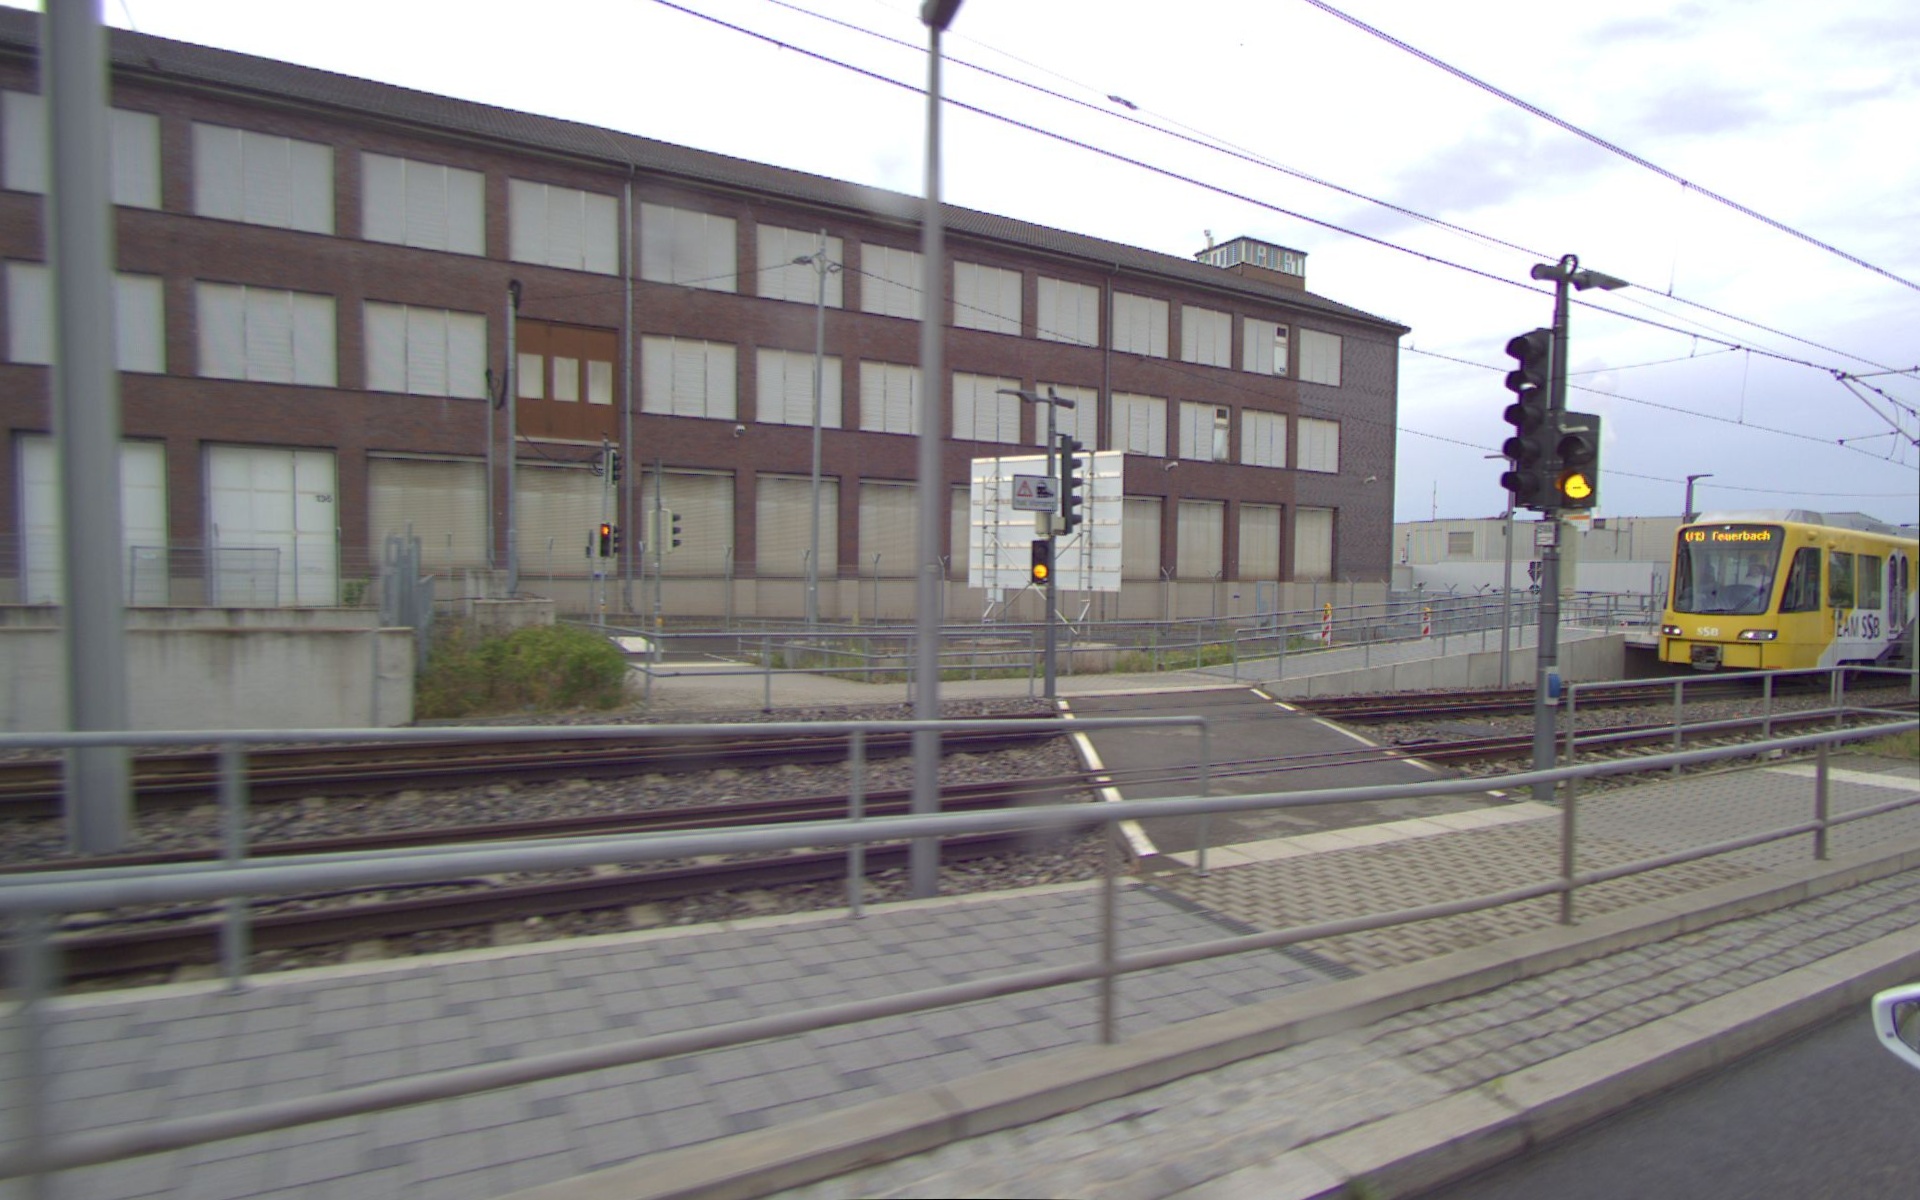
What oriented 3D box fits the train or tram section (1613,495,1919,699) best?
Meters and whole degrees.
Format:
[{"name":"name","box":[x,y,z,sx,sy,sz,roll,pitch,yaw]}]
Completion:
[{"name":"train or tram section","box":[23.169,0.068,25.833,19.360,3.938,2.938,1,2,-33]}]

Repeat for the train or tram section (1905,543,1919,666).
[{"name":"train or tram section","box":[39.202,0.349,36.398,19.088,3.938,2.937,1,2,-34]}]
